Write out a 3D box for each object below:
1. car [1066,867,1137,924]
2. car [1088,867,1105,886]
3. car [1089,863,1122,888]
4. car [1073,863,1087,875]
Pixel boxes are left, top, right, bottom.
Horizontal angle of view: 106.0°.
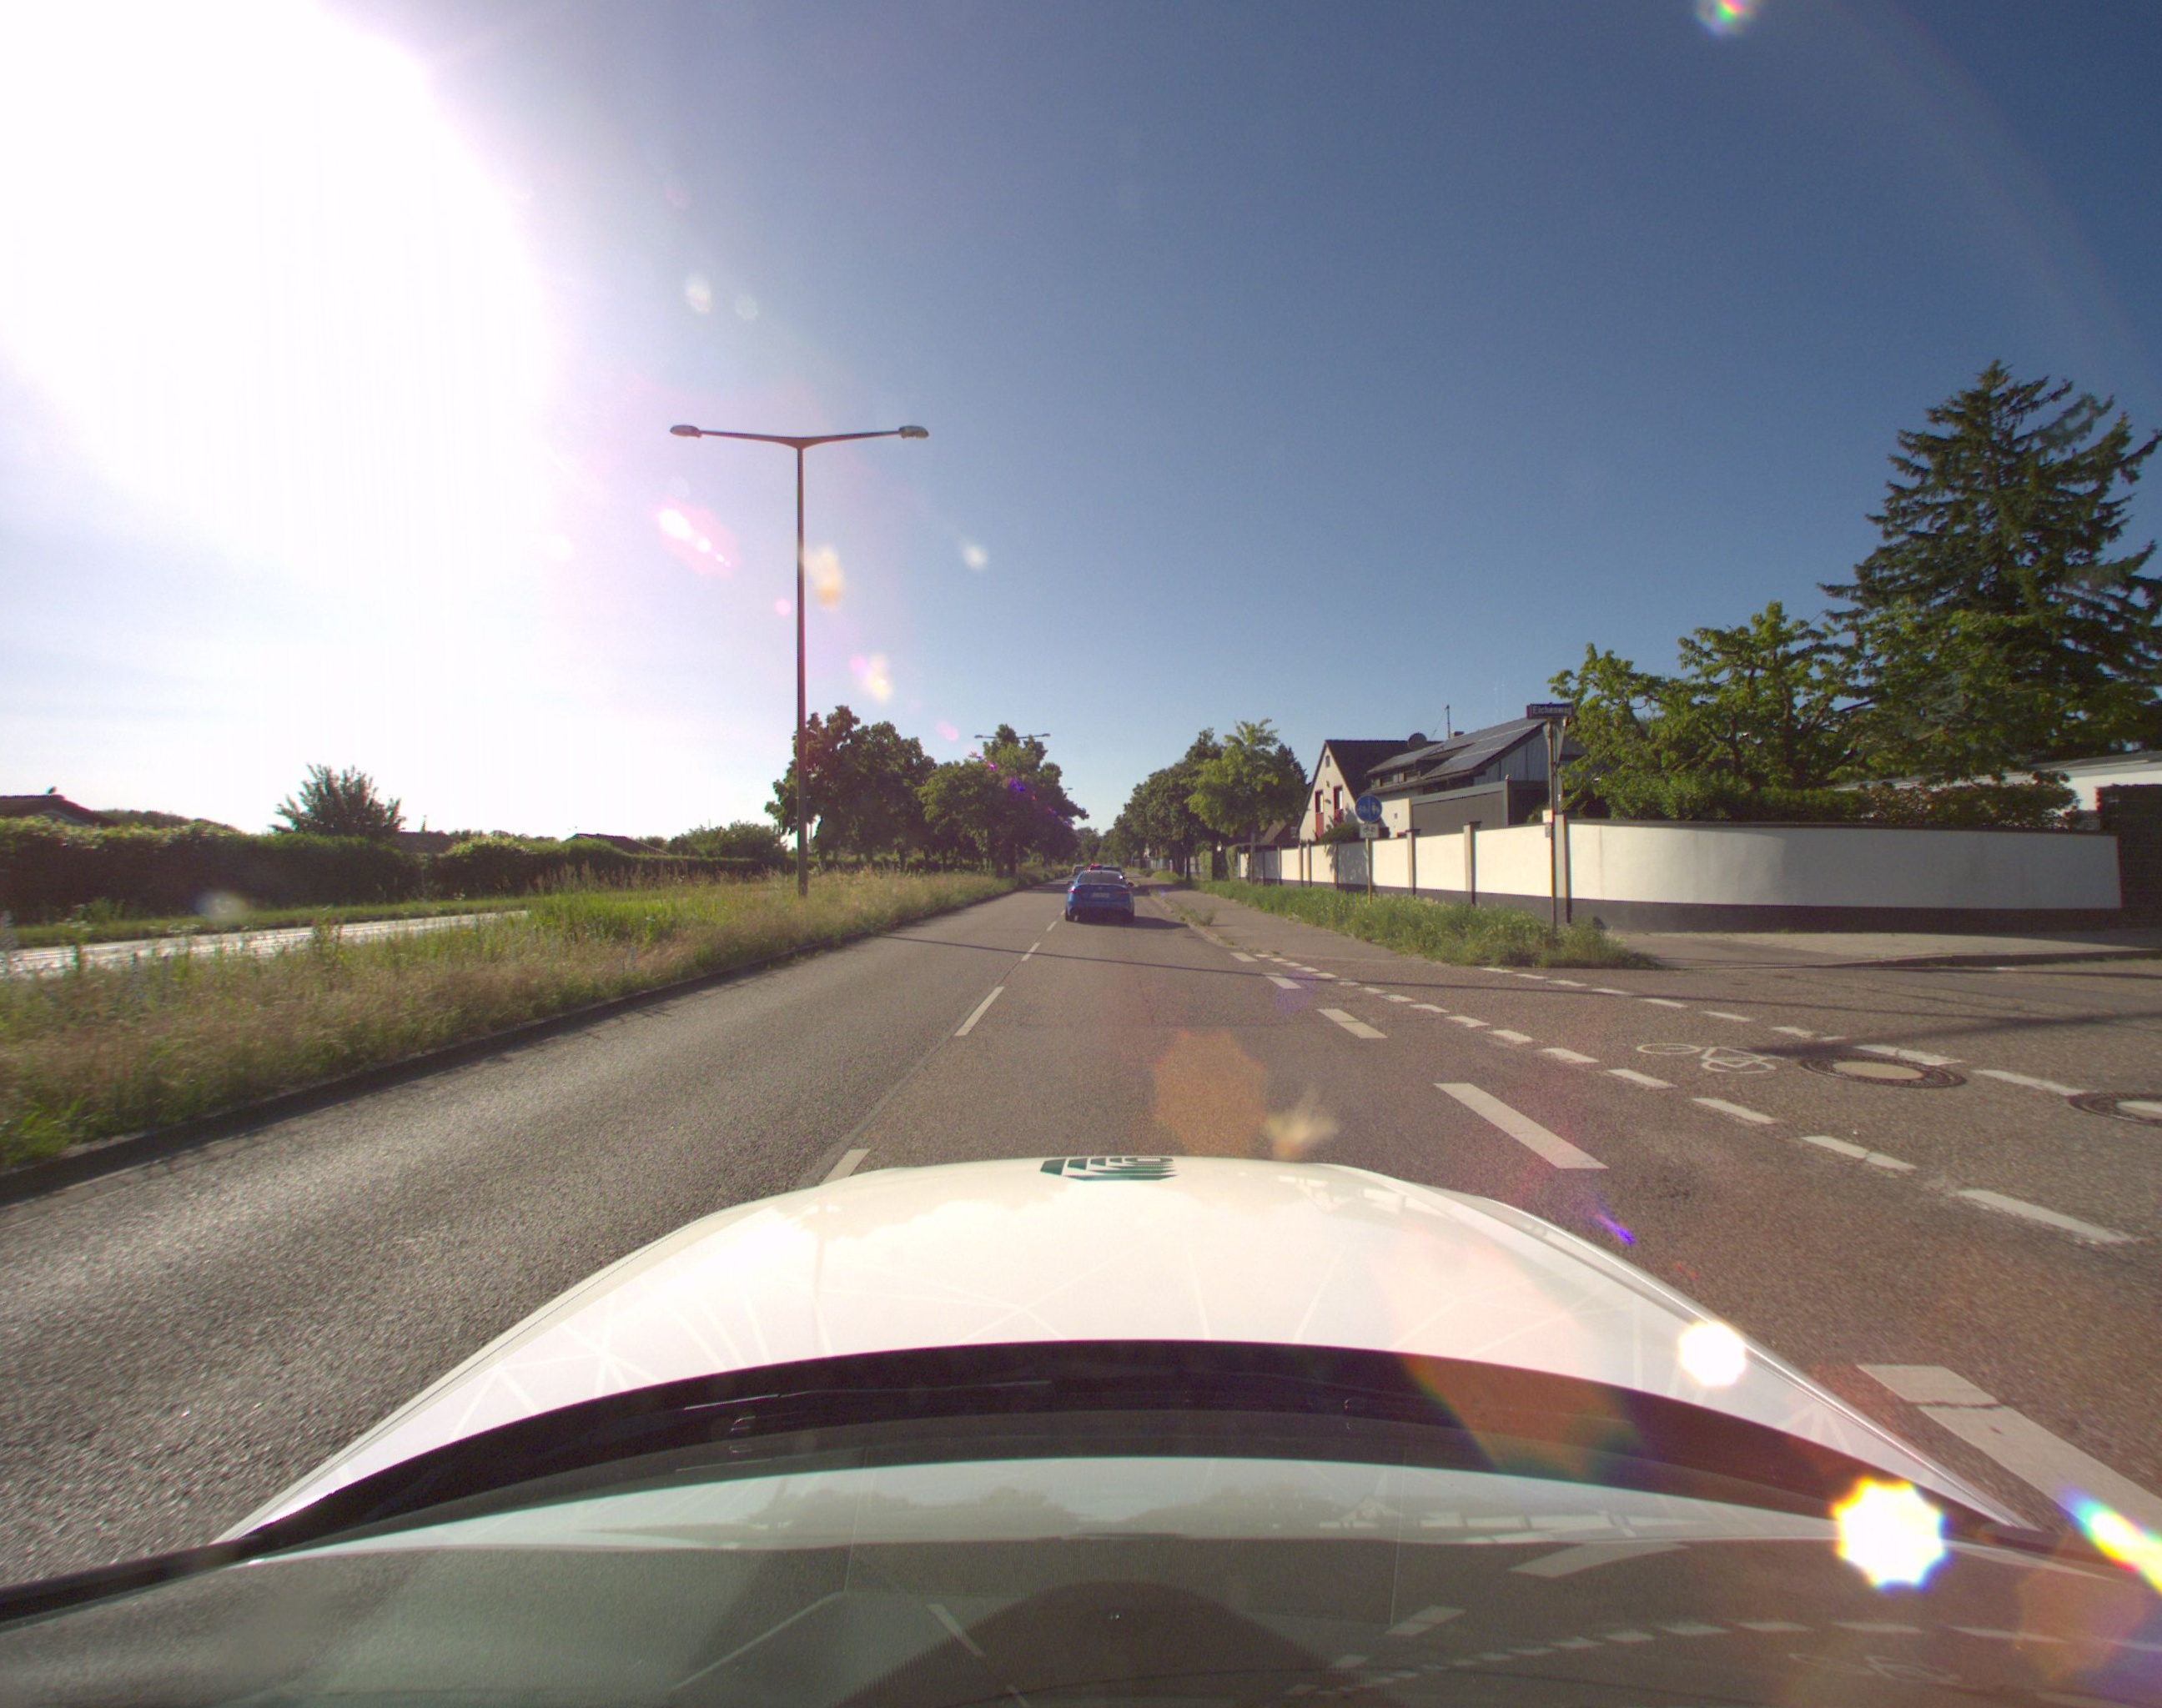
[{"bbox_3d":[0.637,1.147,23.687,1.831,1.474,4.186,1,-1,2],"label":"car"},{"bbox_3d":[1.684,2.492,89.597,1.786,2.014,4.000,0,-1,1],"label":"car"},{"bbox_3d":[1.588,1.417,54.316,1.911,1.579,4.178,0,-1,-3],"label":"car"},{"bbox_3d":[-0.134,1.962,107.062,1.909,1.512,4.066,0,-1,-1],"label":"car"}]
